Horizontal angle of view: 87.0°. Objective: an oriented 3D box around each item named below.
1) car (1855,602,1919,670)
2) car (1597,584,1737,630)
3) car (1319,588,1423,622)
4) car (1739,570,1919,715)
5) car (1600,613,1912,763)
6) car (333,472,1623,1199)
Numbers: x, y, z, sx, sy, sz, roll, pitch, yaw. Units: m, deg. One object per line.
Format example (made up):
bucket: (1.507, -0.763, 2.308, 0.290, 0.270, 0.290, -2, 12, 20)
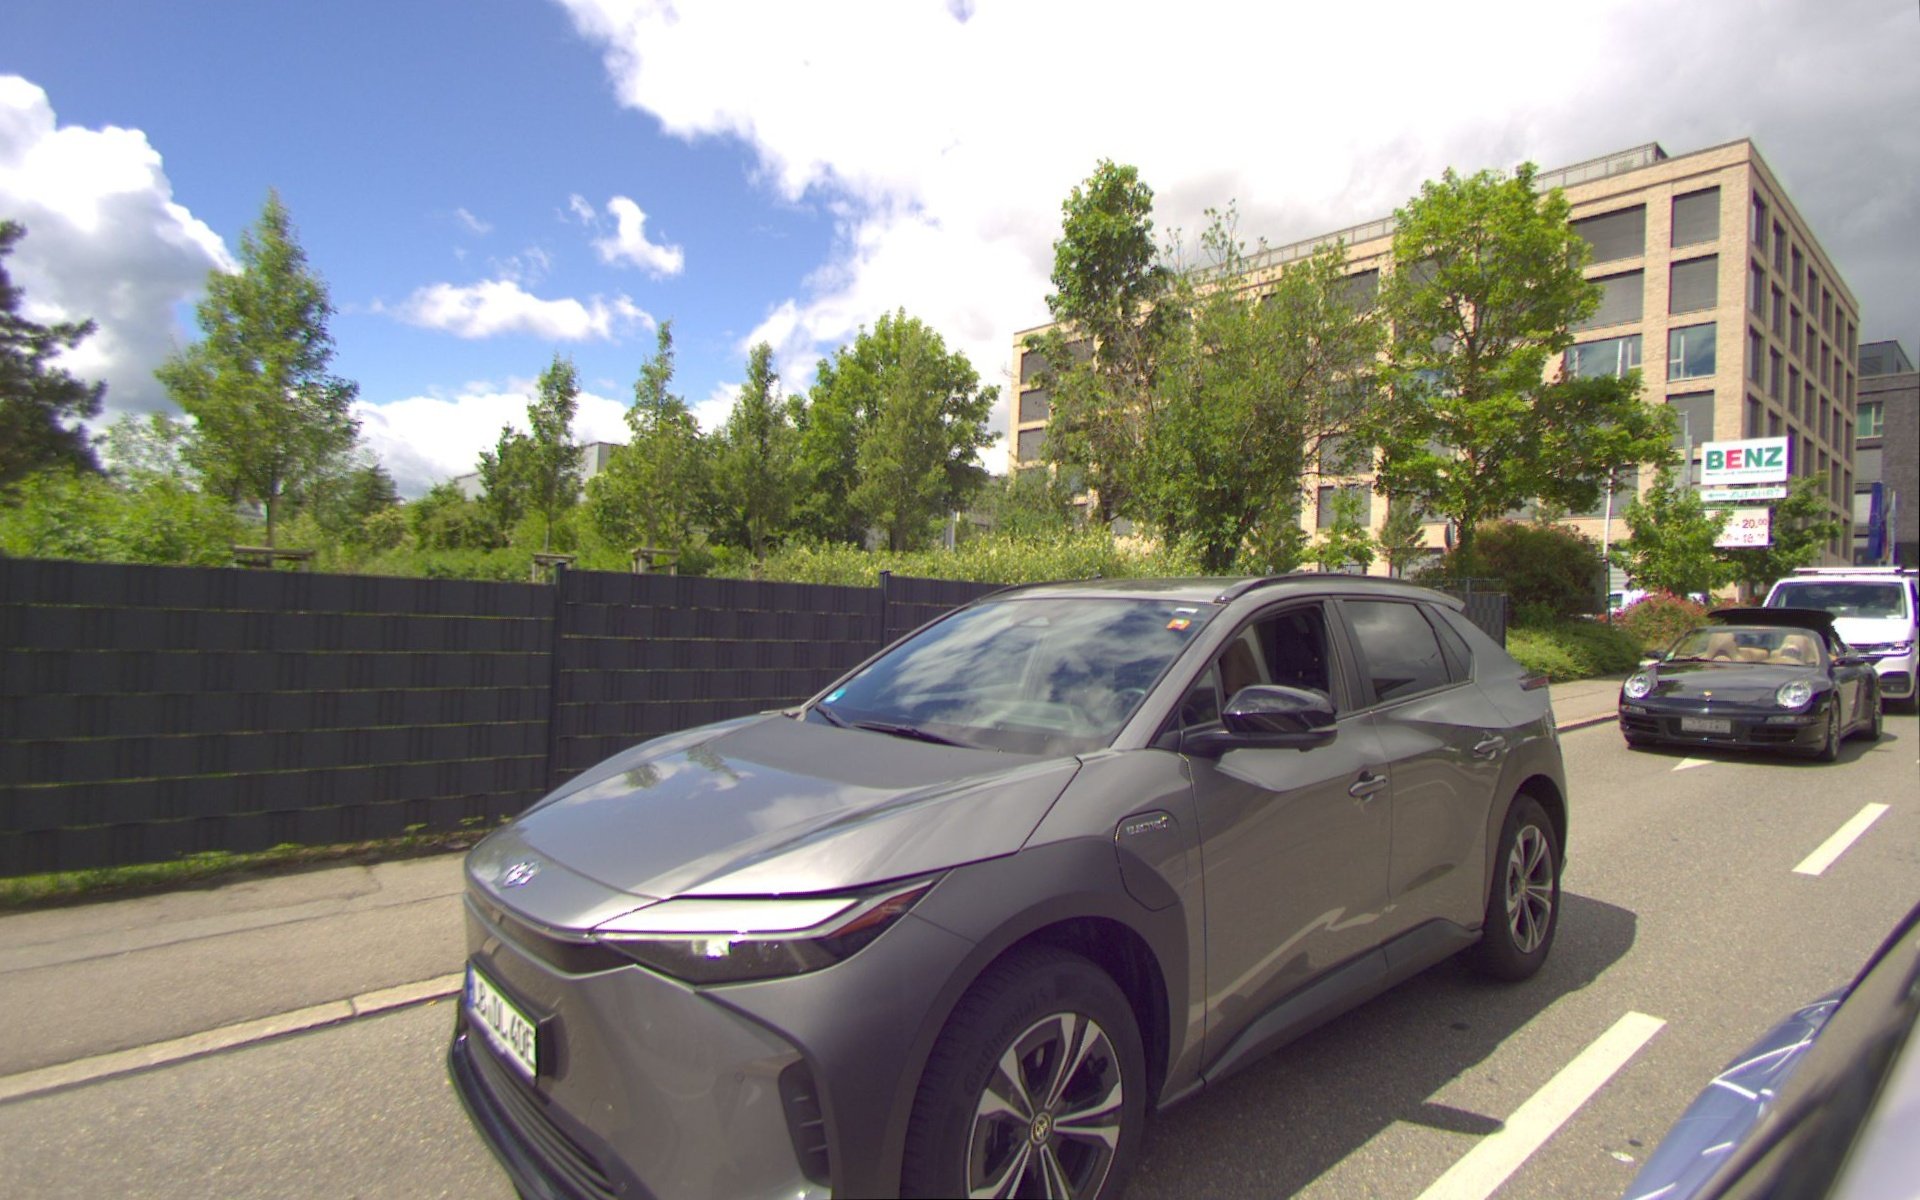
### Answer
car: (20.507, 0.718, 21.237, 4.485, 1.290, 1.778, 0, 1, -38)
car: (27.413, 0.222, 39.324, 1.707, 1.596, 4.211, 1, 1, -44)
car: (19.356, 0.231, 47.819, 1.705, 1.436, 4.215, 1, 1, -41)
car: (13.558, 0.562, 15.282, 4.563, 1.874, 1.962, 0, -1, -41)
car: (8.750, 0.797, 10.977, 4.487, 1.290, 1.776, 0, -1, -40)
car: (0.562, 0.651, 3.686, 4.601, 1.634, 1.922, 0, -1, -41)
